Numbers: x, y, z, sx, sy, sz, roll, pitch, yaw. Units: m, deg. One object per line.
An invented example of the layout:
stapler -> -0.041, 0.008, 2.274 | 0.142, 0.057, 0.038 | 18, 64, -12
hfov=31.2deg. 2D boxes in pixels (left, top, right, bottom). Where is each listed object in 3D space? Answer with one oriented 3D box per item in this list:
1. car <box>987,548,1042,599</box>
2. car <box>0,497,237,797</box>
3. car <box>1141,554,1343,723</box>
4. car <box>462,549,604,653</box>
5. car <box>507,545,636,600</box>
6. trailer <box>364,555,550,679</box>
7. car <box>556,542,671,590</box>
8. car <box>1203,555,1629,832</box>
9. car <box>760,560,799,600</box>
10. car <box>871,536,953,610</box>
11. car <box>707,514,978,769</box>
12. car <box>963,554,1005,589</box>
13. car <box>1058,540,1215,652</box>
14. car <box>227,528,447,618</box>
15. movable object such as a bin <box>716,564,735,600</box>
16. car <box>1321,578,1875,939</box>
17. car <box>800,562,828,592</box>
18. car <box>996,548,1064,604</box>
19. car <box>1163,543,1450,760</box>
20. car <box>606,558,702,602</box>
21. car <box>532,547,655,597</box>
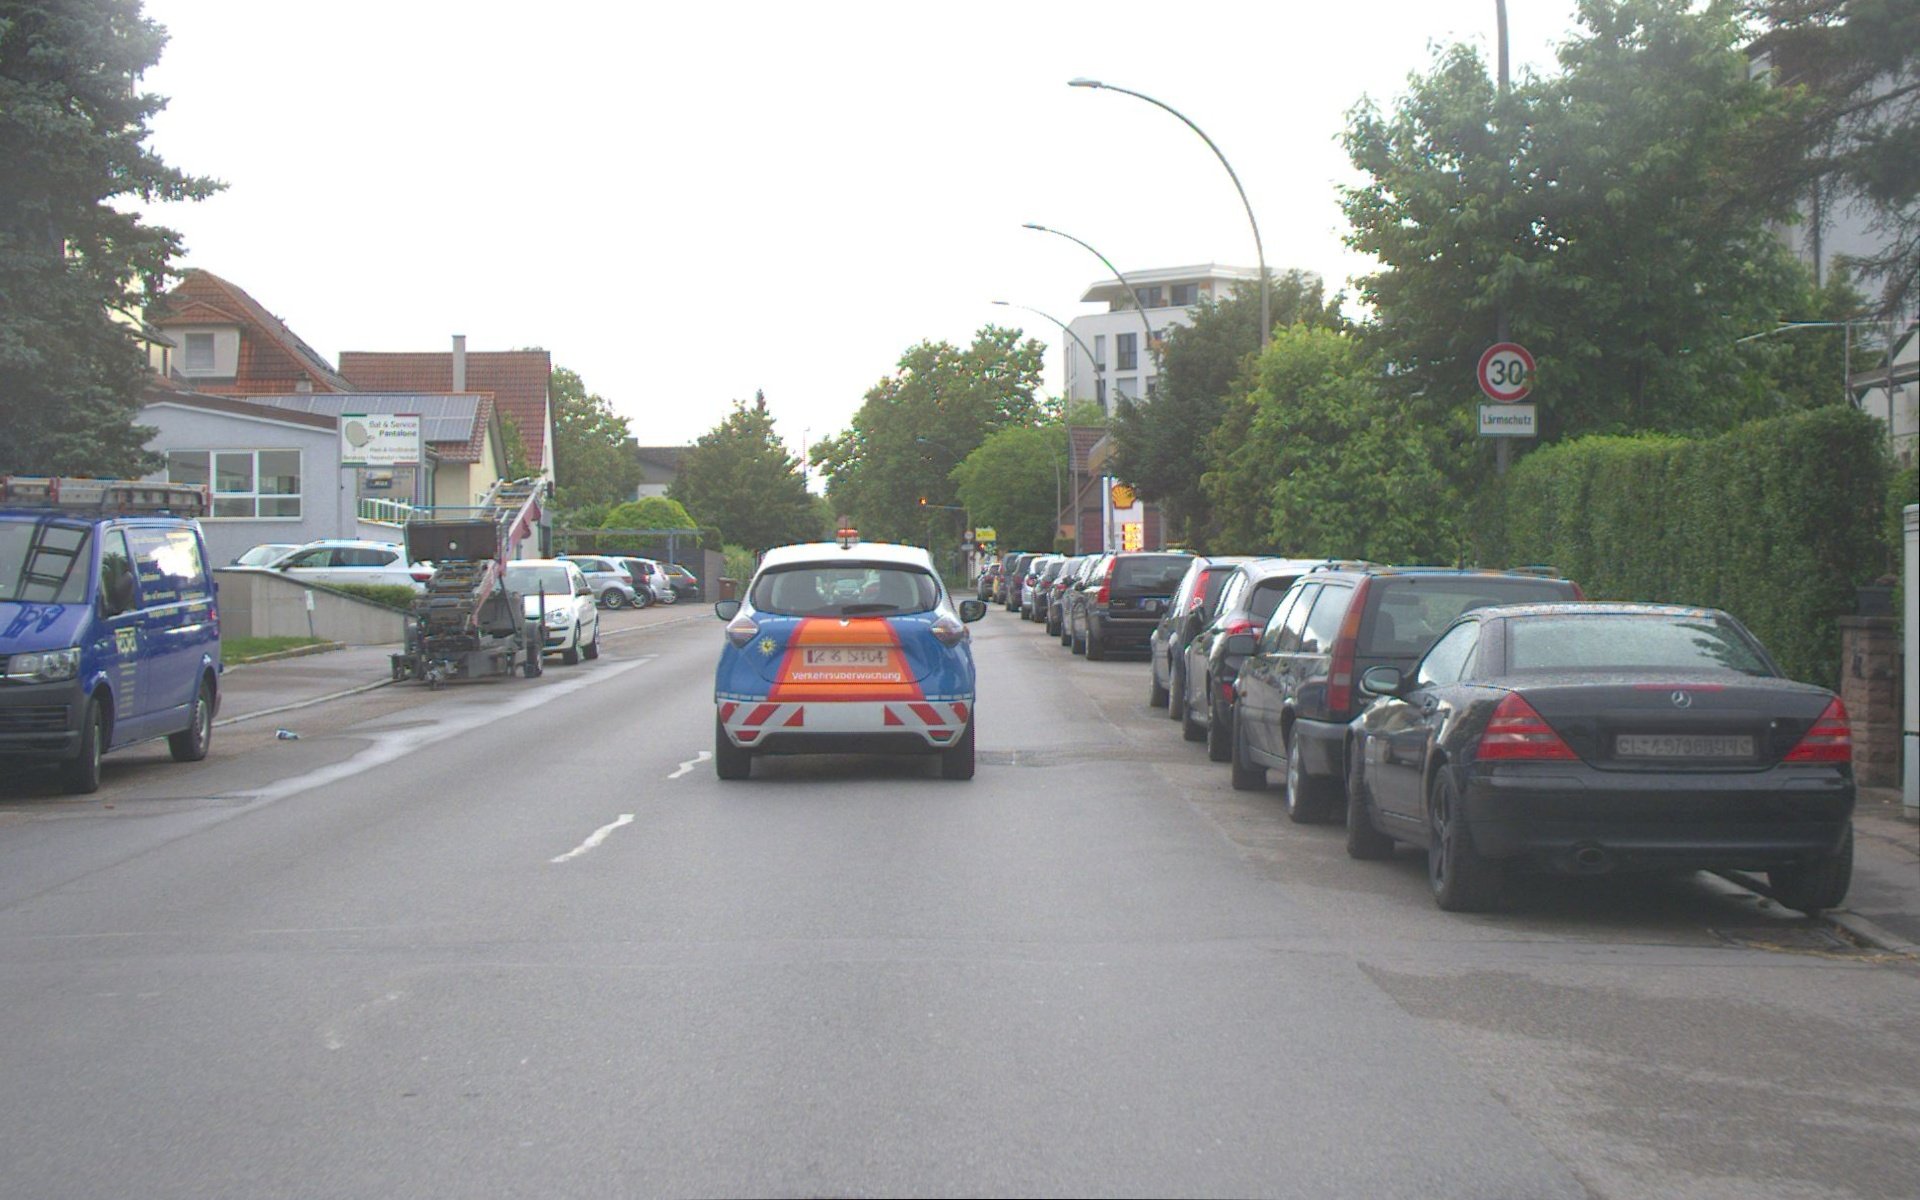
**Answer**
car -> 1.847, -0.914, 117.923 | 1.650, 1.666, 4.000 | 1, 0, -2
car -> -6.758, 0.253, 24.902 | 1.993, 1.940, 5.366 | 0, 1, -1
car -> 2.550, 0.307, 31.807 | 1.487, 1.434, 3.807 | 1, 1, -1
car -> -6.174, -0.001, 49.994 | 1.557, 1.428, 4.000 | 1, 0, 0
car -> -11.674, -0.823, 103.389 | 3.759, 1.571, 1.655 | 1, 0, -4
trailer -> -6.167, 0.162, 42.648 | 1.717, 1.256, 5.245 | 1, 2, -2
car -> -11.250, -1.101, 111.638 | 3.653, 1.478, 1.480 | -1, 1, -4
car -> 2.556, 0.472, 20.369 | 1.656, 1.414, 4.777 | 1, 0, -3
car -> -6.755, -0.761, 128.558 | 1.386, 1.478, 3.784 | 0, 1, -2
car -> -1.050, -0.577, 73.471 | 1.650, 1.516, 4.000 | 1, 0, -2
car -> -0.783, 0.252, 23.693 | 1.731, 1.625, 3.495 | 0, 0, -1
car -> 1.032, -1.232, 149.861 | 1.650, 1.478, 4.000 | 1, 0, -2
car -> 2.390, -0.070, 47.569 | 1.711, 1.433, 4.527 | 1, 0, -3
car -> -11.480, -0.490, 63.498 | 3.759, 1.562, 1.655 | 1, 0, -1
movable object such as a bin -> -7.754, -0.598, 113.691 | 0.579, 1.200, 0.318 | 1, 1, 0
car -> 2.755, 0.619, 15.718 | 1.589, 1.336, 4.093 | 2, 1, -2
car -> -6.239, -1.009, 146.921 | 1.151, 1.228, 3.373 | -1, 1, -2
car -> 1.949, -0.676, 96.150 | 1.650, 1.516, 4.000 | 1, 0, -2
car -> 2.501, 0.323, 25.631 | 1.657, 1.444, 3.830 | 1, 1, -1
car -> -10.632, -0.708, 119.664 | 3.281, 1.443, 1.480 | -1, 1, -4
car -> -11.468, -0.884, 107.751 | 3.759, 1.478, 1.655 | 1, 0, -4
